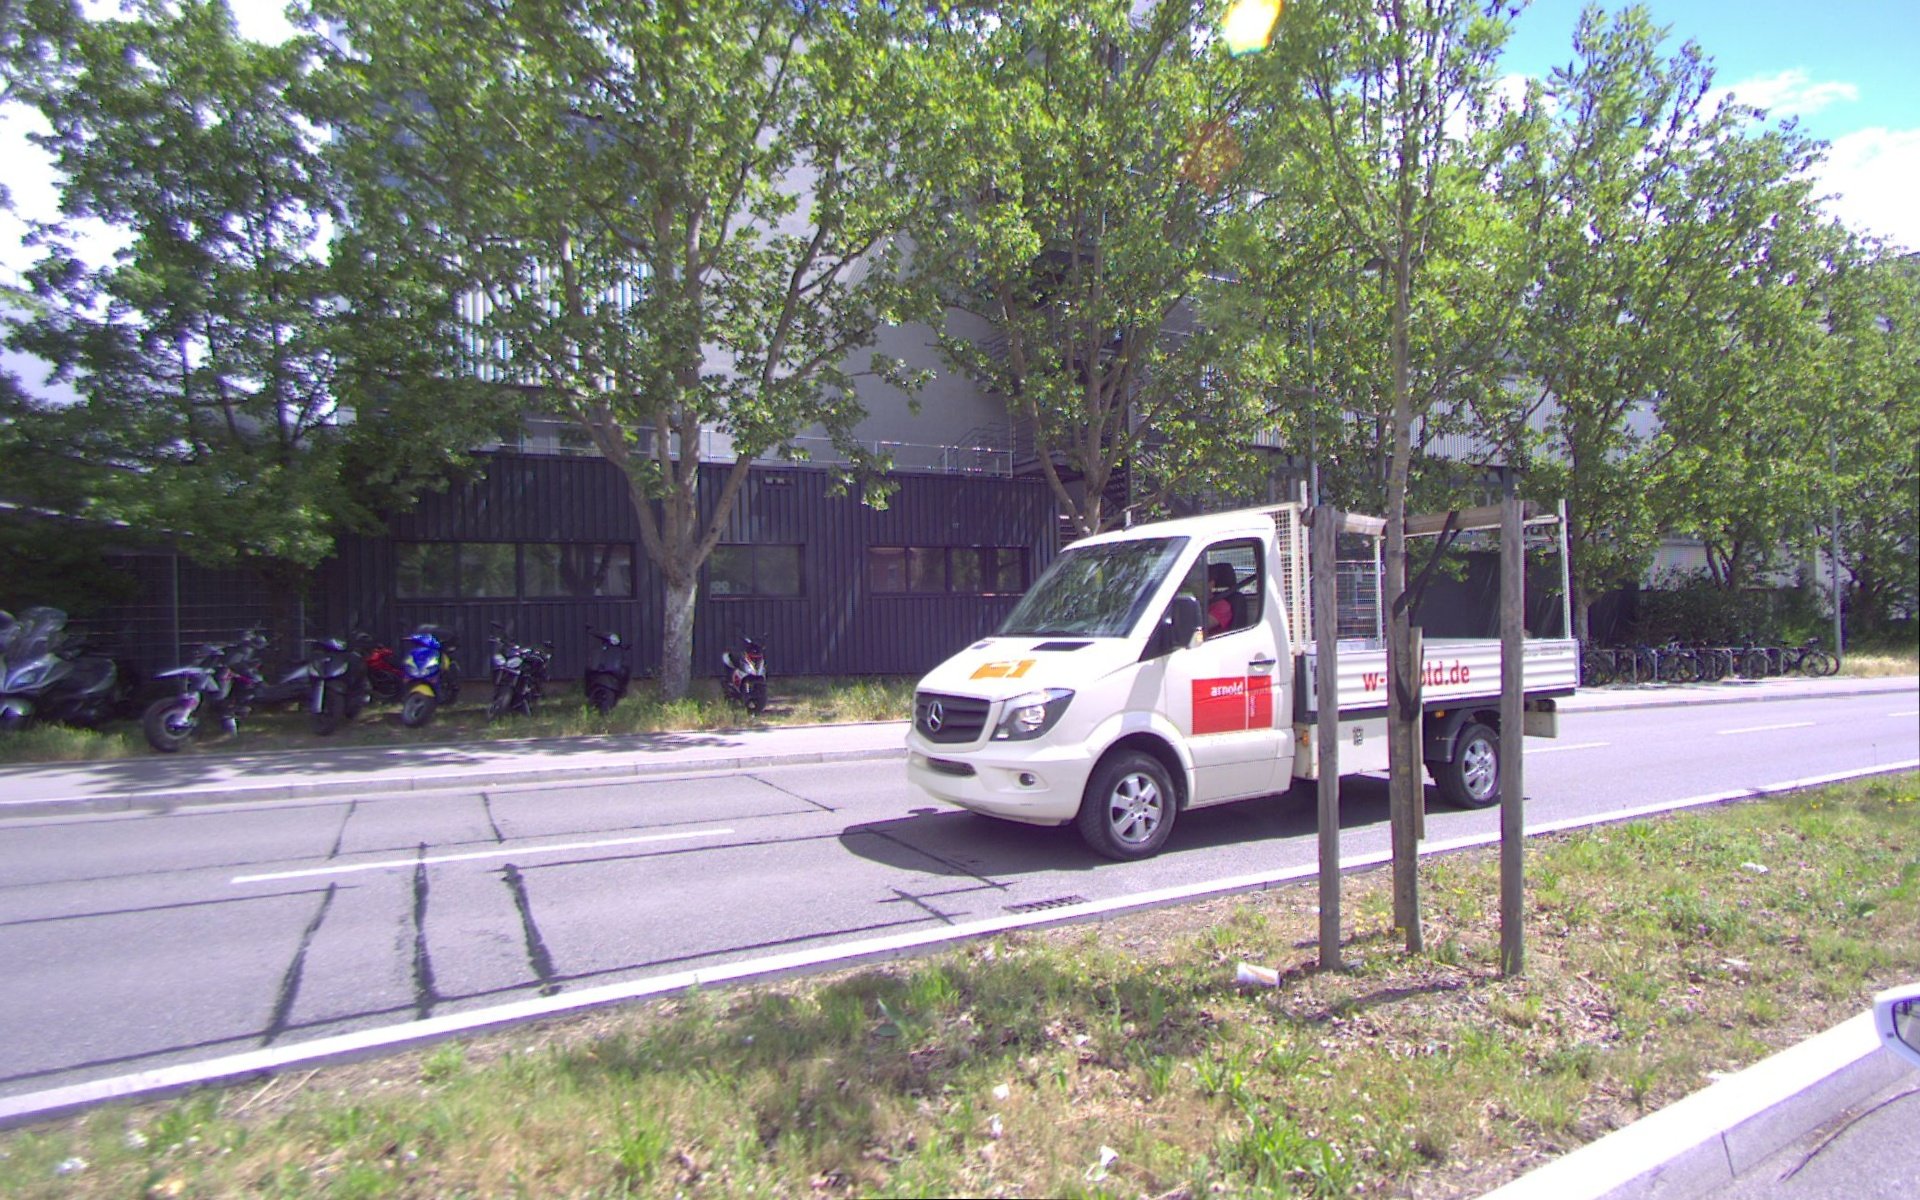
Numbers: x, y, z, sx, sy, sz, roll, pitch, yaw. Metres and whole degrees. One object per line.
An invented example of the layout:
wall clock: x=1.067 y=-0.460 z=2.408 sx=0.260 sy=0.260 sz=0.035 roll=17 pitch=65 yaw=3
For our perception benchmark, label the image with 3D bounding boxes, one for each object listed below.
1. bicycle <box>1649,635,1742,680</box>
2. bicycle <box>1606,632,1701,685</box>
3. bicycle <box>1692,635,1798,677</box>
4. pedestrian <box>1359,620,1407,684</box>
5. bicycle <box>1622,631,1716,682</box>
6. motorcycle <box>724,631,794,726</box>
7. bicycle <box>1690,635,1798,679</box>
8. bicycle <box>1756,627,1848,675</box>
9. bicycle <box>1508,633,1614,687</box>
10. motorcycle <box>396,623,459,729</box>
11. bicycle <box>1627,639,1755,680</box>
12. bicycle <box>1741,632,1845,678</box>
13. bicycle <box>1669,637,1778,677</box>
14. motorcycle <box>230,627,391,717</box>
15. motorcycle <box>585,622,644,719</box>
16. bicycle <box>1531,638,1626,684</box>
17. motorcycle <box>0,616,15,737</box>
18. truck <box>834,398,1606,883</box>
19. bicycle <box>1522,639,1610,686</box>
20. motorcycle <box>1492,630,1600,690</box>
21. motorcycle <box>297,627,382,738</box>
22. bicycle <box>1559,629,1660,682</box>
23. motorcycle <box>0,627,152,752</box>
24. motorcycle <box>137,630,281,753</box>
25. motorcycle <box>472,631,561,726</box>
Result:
bicycle: x=20.037 y=1.549 z=27.395 sx=0.797 sy=1.137 sz=1.908 roll=1 pitch=-1 yaw=-31
bicycle: x=18.205 y=1.499 z=26.400 sx=0.797 sy=1.299 sz=1.908 roll=1 pitch=-1 yaw=-31
bicycle: x=23.709 y=1.665 z=30.425 sx=0.714 sy=1.173 sz=2.562 roll=1 pitch=-1 yaw=-19
pedestrian: x=10.617 y=1.294 z=25.217 sx=0.808 sy=1.572 sz=0.753 roll=1 pitch=-1 yaw=-20
bicycle: x=19.041 y=1.497 z=27.008 sx=0.797 sy=1.299 sz=1.908 roll=1 pitch=-1 yaw=-31
motorcycle: x=-2.955 y=1.098 z=14.628 sx=0.734 sy=1.189 sz=1.875 roll=-1 pitch=1 yaw=-20
bicycle: x=22.956 y=1.642 z=29.493 sx=0.634 sy=1.173 sz=2.562 roll=1 pitch=-1 yaw=-19
bicycle: x=25.824 y=1.540 z=30.862 sx=0.483 sy=1.382 sz=2.159 roll=1 pitch=-1 yaw=-27
bicycle: x=14.669 y=1.439 z=24.593 sx=0.797 sy=1.196 sz=2.123 roll=1 pitch=-1 yaw=-31
motorcycle: x=-7.102 y=0.966 z=13.459 sx=0.646 sy=1.226 sz=1.872 roll=-1 pitch=1 yaw=-25
bicycle: x=20.574 y=1.658 z=28.345 sx=0.843 sy=1.020 sz=2.813 roll=1 pitch=-1 yaw=-38
bicycle: x=24.895 y=1.614 z=30.071 sx=0.548 sy=1.274 sz=2.395 roll=1 pitch=-1 yaw=-27
bicycle: x=22.190 y=1.646 z=29.265 sx=0.685 sy=1.110 sz=2.563 roll=1 pitch=-2 yaw=-19
motorcycle: x=-9.775 y=1.058 z=15.207 sx=1.956 sy=1.226 sz=0.651 roll=-1 pitch=2 yaw=-26
motorcycle: x=-4.869 y=0.940 z=14.090 sx=0.719 sy=1.202 sz=1.875 roll=0 pitch=1 yaw=-21
bicycle: x=15.604 y=1.516 z=25.389 sx=0.491 sy=1.076 sz=2.070 roll=1 pitch=-1 yaw=-30
motorcycle: x=-11.107 y=0.880 z=10.474 sx=0.849 sy=1.362 sz=1.935 roll=0 pitch=1 yaw=-9
truck: x=2.371 y=0.303 z=8.438 sx=6.380 sy=2.787 sz=2.468 roll=1 pitch=-2 yaw=-30
bicycle: x=15.177 y=1.539 z=25.203 sx=0.417 sy=1.089 sz=1.914 roll=1 pitch=-1 yaw=-30
motorcycle: x=13.900 y=1.400 z=23.898 sx=0.797 sy=1.326 sz=2.123 roll=1 pitch=-1 yaw=-31
motorcycle: x=-7.814 y=0.989 z=12.713 sx=0.689 sy=1.195 sz=1.872 roll=-1 pitch=1 yaw=-25
bicycle: x=17.103 y=1.442 z=26.501 sx=0.797 sy=1.299 sz=2.123 roll=1 pitch=-1 yaw=-31
motorcycle: x=-9.981 y=0.942 z=11.186 sx=0.801 sy=1.195 sz=1.878 roll=0 pitch=1 yaw=-14
motorcycle: x=-8.595 y=0.995 z=11.599 sx=0.802 sy=1.195 sz=1.875 roll=-1 pitch=1 yaw=-20
motorcycle: x=-5.999 y=1.027 z=13.684 sx=0.780 sy=1.099 sz=1.878 roll=0 pitch=1 yaw=-14
